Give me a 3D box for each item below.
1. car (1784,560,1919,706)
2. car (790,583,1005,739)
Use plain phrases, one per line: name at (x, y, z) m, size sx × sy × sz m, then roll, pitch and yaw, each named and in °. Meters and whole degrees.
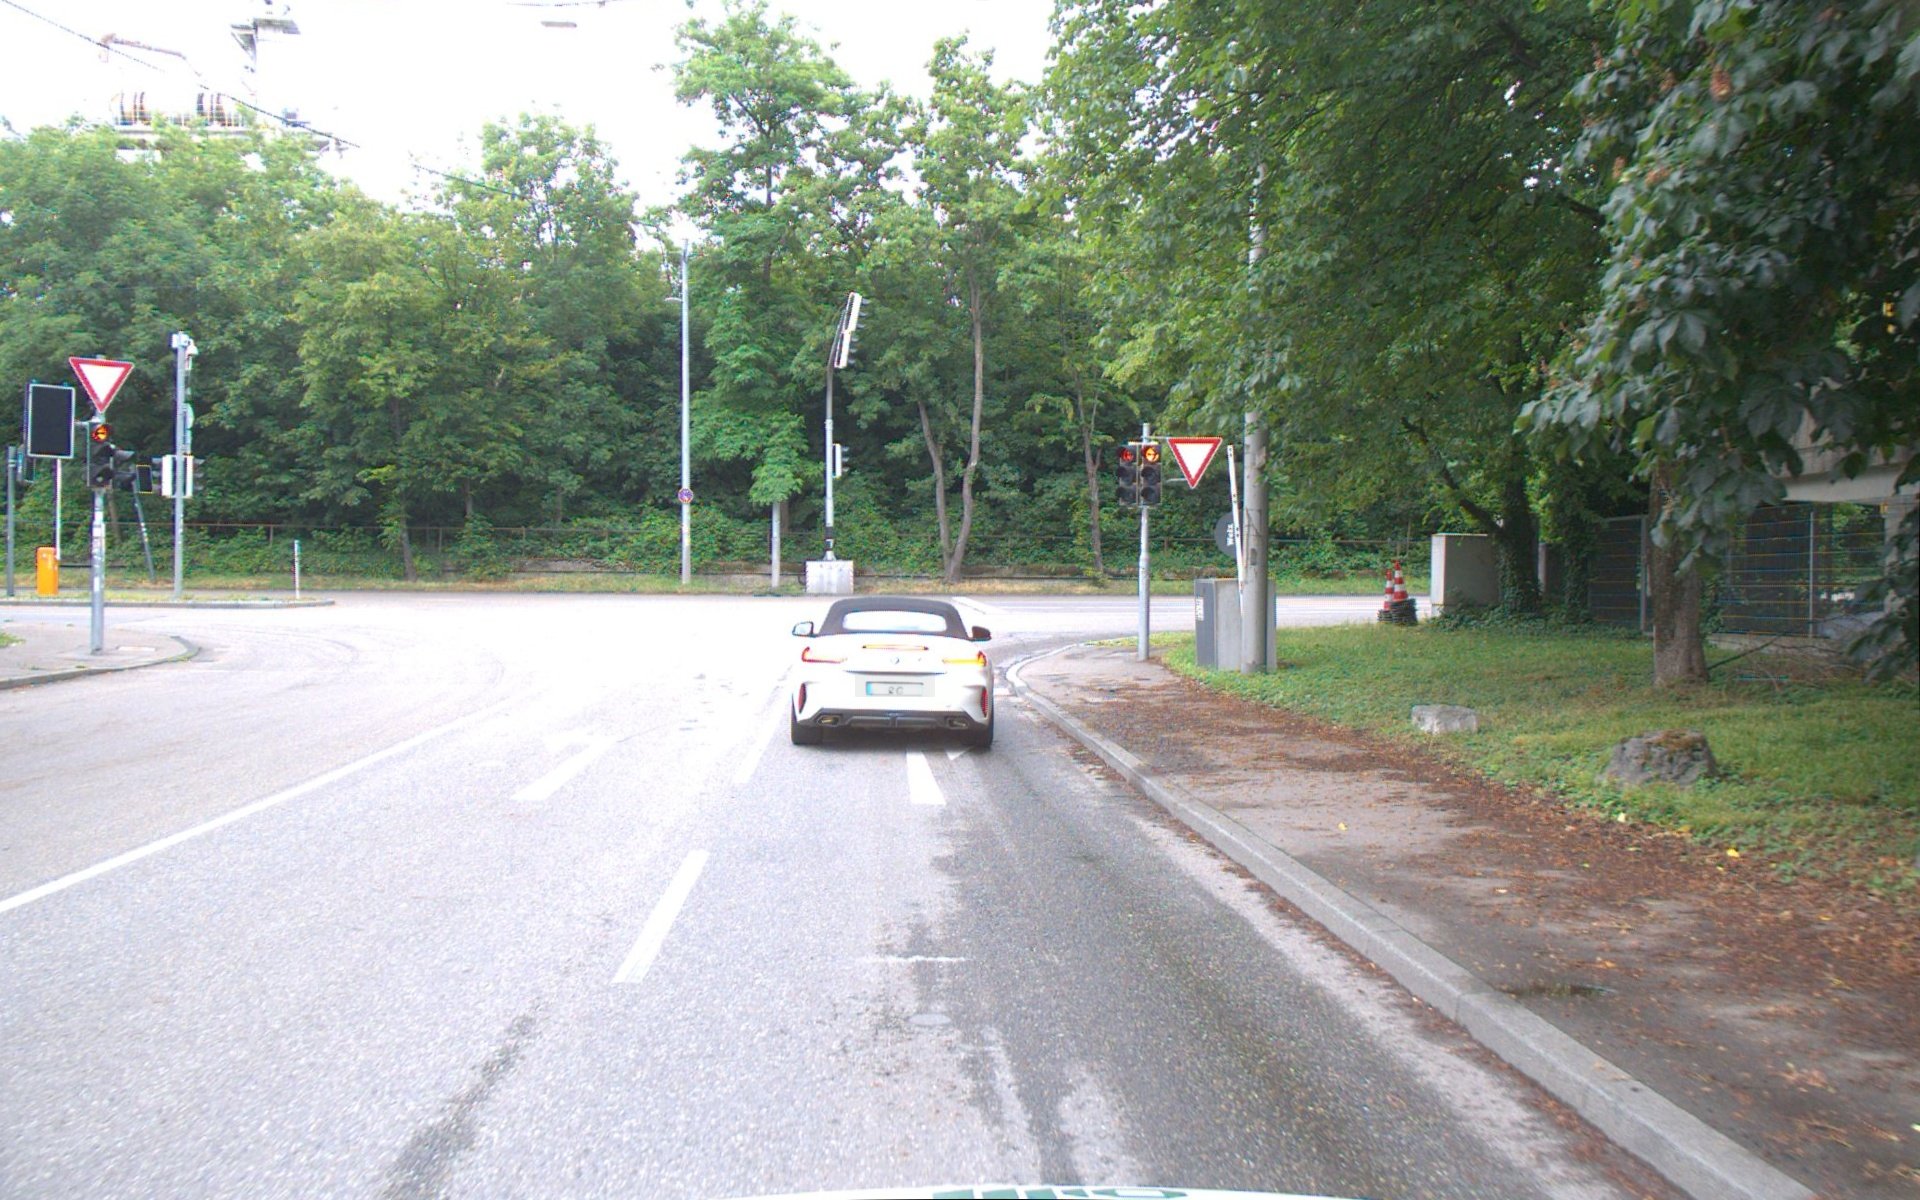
car at (12.073, 0.426, 20.758) m, size 1.451 × 1.738 × 3.716 m, roll 1°, pitch -1°, yaw -3°
car at (-0.708, 0.553, 15.975) m, size 1.792 × 1.279 × 3.995 m, roll 2°, pitch -1°, yaw -5°
